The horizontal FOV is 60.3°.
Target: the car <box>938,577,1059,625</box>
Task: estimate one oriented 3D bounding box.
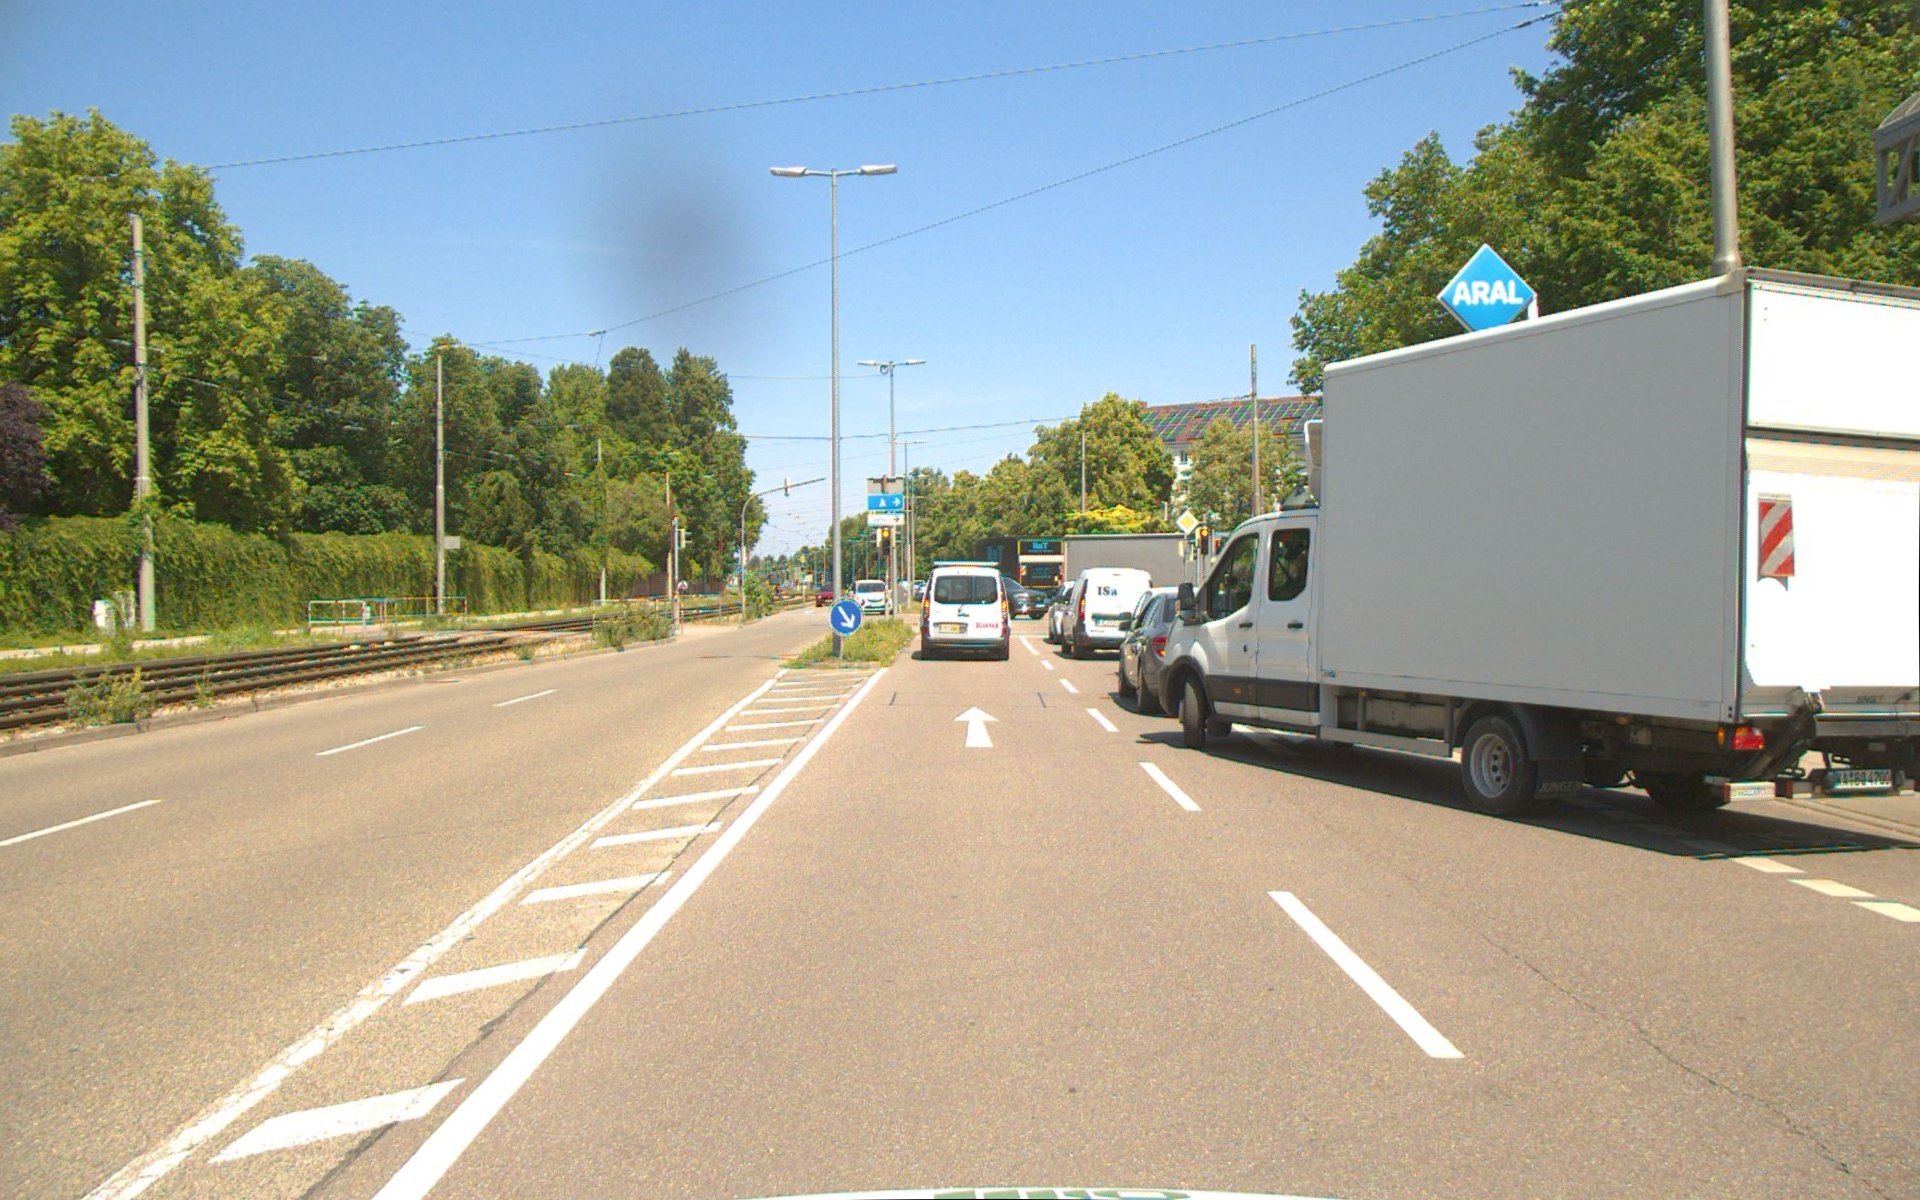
[{"bbox_3d":[1.548,0.029,65.473,4.429,1.861,2.002,0,0,15],"label":"car"}]

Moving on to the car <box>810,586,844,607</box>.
[{"bbox_3d":[-9.065,-0.238,113.001,1.943,1.382,4.539,0,0,1],"label":"car"}]

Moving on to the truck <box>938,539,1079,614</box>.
[{"bbox_3d":[2.390,-1.215,86.386,3.536,3.696,8.726,-1,0,-28],"label":"truck"}]

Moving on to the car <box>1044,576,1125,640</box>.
[{"bbox_3d":[3.093,0.175,41.817,1.720,1.512,4.000,0,0,0],"label":"car"}]

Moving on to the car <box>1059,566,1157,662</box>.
[{"bbox_3d":[2.985,0.255,34.021,1.675,1.862,4.013,0,0,0],"label":"car"}]

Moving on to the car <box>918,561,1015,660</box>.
[{"bbox_3d":[0.085,0.187,33.284,1.829,1.868,3.848,0,0,-1],"label":"car"}]

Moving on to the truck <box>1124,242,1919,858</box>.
[{"bbox_3d":[4.149,-0.316,13.339,2.385,3.450,7.783,0,0,-21],"label":"truck"}]

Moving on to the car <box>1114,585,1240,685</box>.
[{"bbox_3d":[3.437,0.527,26.704,1.574,1.477,3.521,1,0,1],"label":"car"}]

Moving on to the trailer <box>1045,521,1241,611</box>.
[{"bbox_3d":[8.812,-1.583,79.921,8.784,4.121,3.531,0,0,32],"label":"trailer"}]

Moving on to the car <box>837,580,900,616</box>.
[{"bbox_3d":[-4.353,-0.091,78.161,1.963,1.645,4.433,0,0,-18],"label":"car"}]

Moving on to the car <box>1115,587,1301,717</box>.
[{"bbox_3d":[3.029,0.579,21.029,1.758,1.475,4.418,0,0,1],"label":"car"}]
